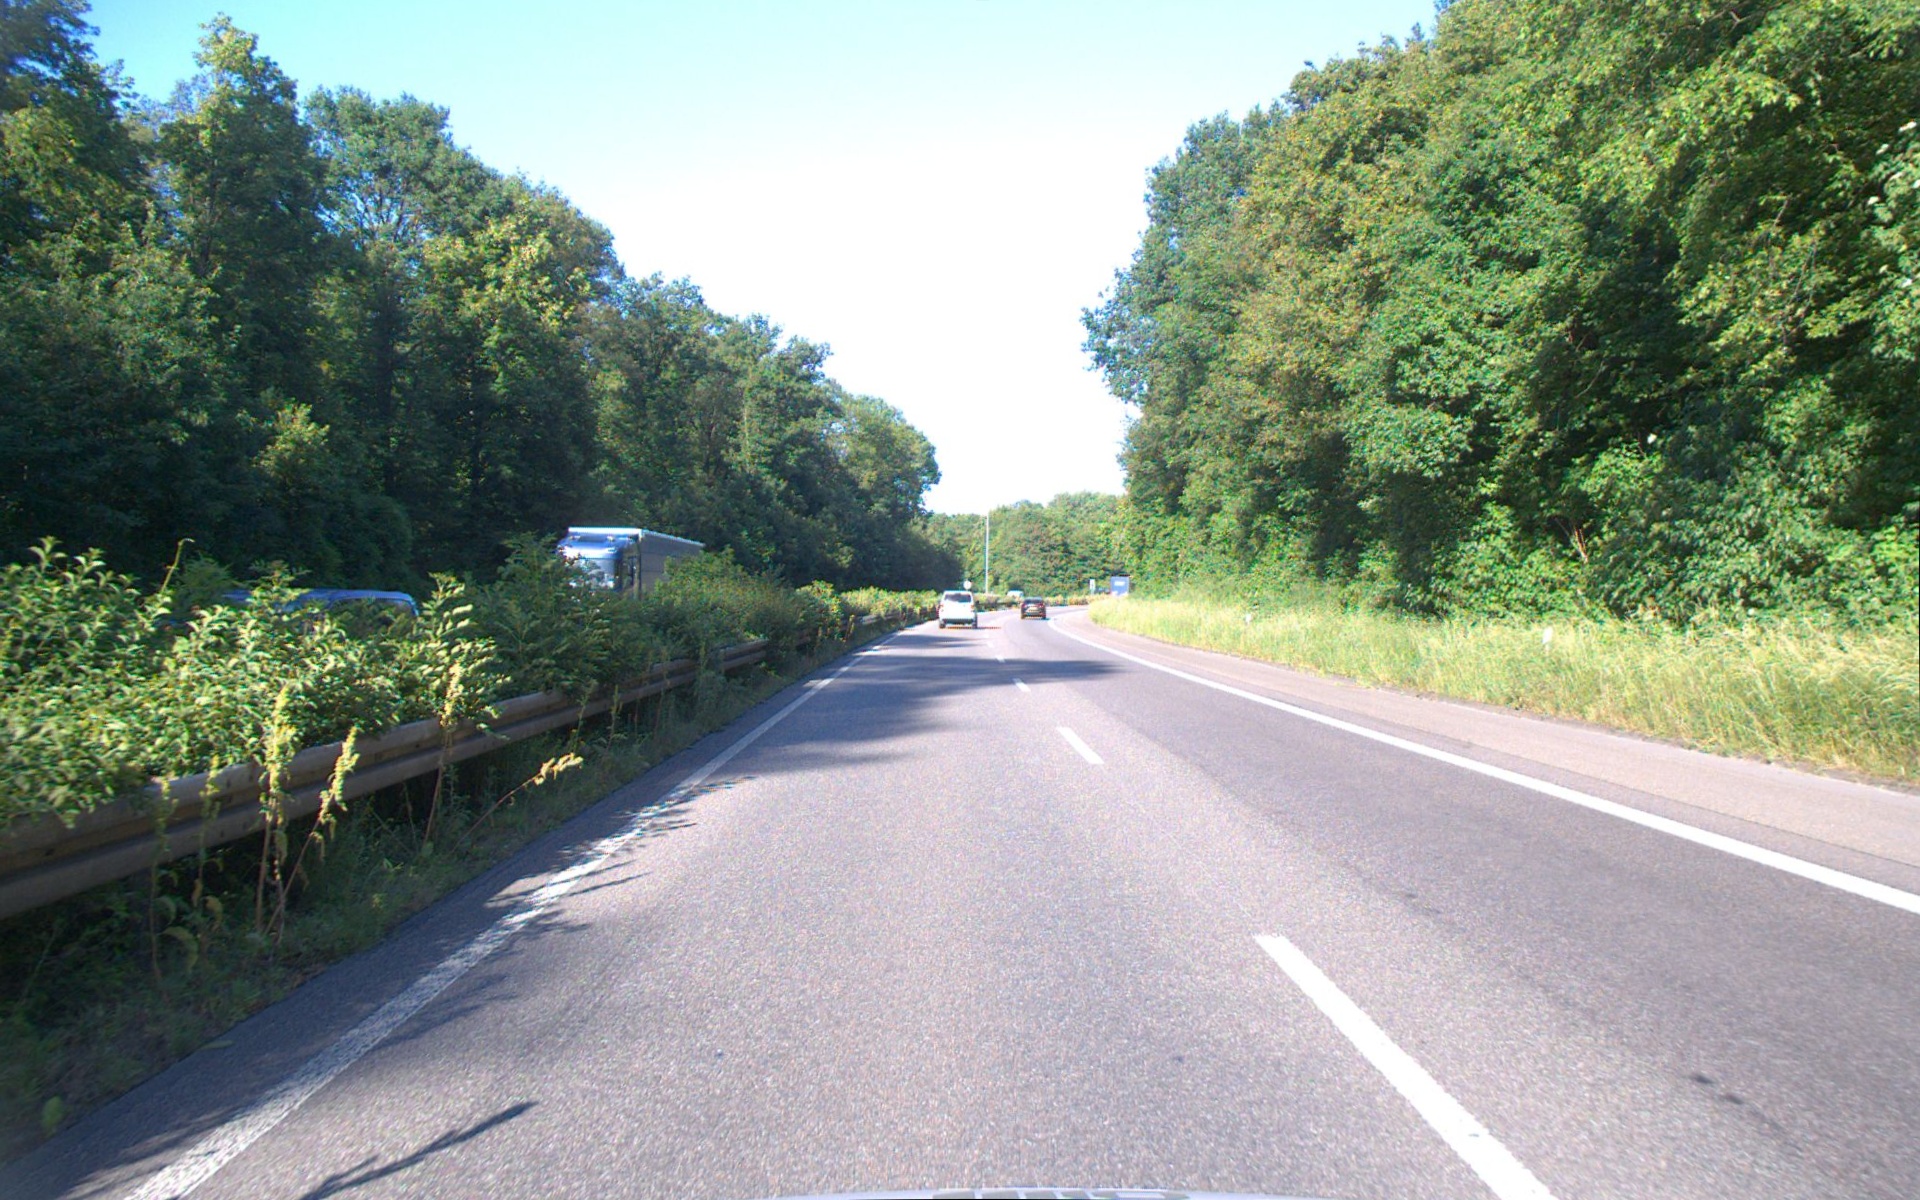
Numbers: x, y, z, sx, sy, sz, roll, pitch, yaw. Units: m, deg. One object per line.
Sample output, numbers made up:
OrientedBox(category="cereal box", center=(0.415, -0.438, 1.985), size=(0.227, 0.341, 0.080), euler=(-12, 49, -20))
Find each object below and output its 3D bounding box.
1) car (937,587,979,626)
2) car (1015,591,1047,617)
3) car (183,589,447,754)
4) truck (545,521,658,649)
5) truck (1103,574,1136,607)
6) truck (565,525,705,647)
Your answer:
OrientedBox(category="car", center=(-0.122, 0.332, 80.697), size=(1.912, 1.813, 4.586), euler=(1, 0, -1))
OrientedBox(category="car", center=(5.047, 0.304, 117.946), size=(1.912, 1.813, 4.586), euler=(1, 0, -1))
OrientedBox(category="car", center=(-8.044, 0.828, 21.044), size=(1.742, 1.880, 4.000), euler=(1, 0, 0))
OrientedBox(category="truck", center=(-12.245, -0.480, 56.855), size=(2.660, 4.168, 5.436), euler=(1, 0, 0))
OrientedBox(category="truck", center=(22.302, -1.242, 230.467), size=(3.654, 4.419, 9.312), euler=(1, 0, 11))
OrientedBox(category="truck", center=(-12.278, -0.452, 63.985), size=(2.652, 4.168, 14.020), euler=(1, 0, 0))
